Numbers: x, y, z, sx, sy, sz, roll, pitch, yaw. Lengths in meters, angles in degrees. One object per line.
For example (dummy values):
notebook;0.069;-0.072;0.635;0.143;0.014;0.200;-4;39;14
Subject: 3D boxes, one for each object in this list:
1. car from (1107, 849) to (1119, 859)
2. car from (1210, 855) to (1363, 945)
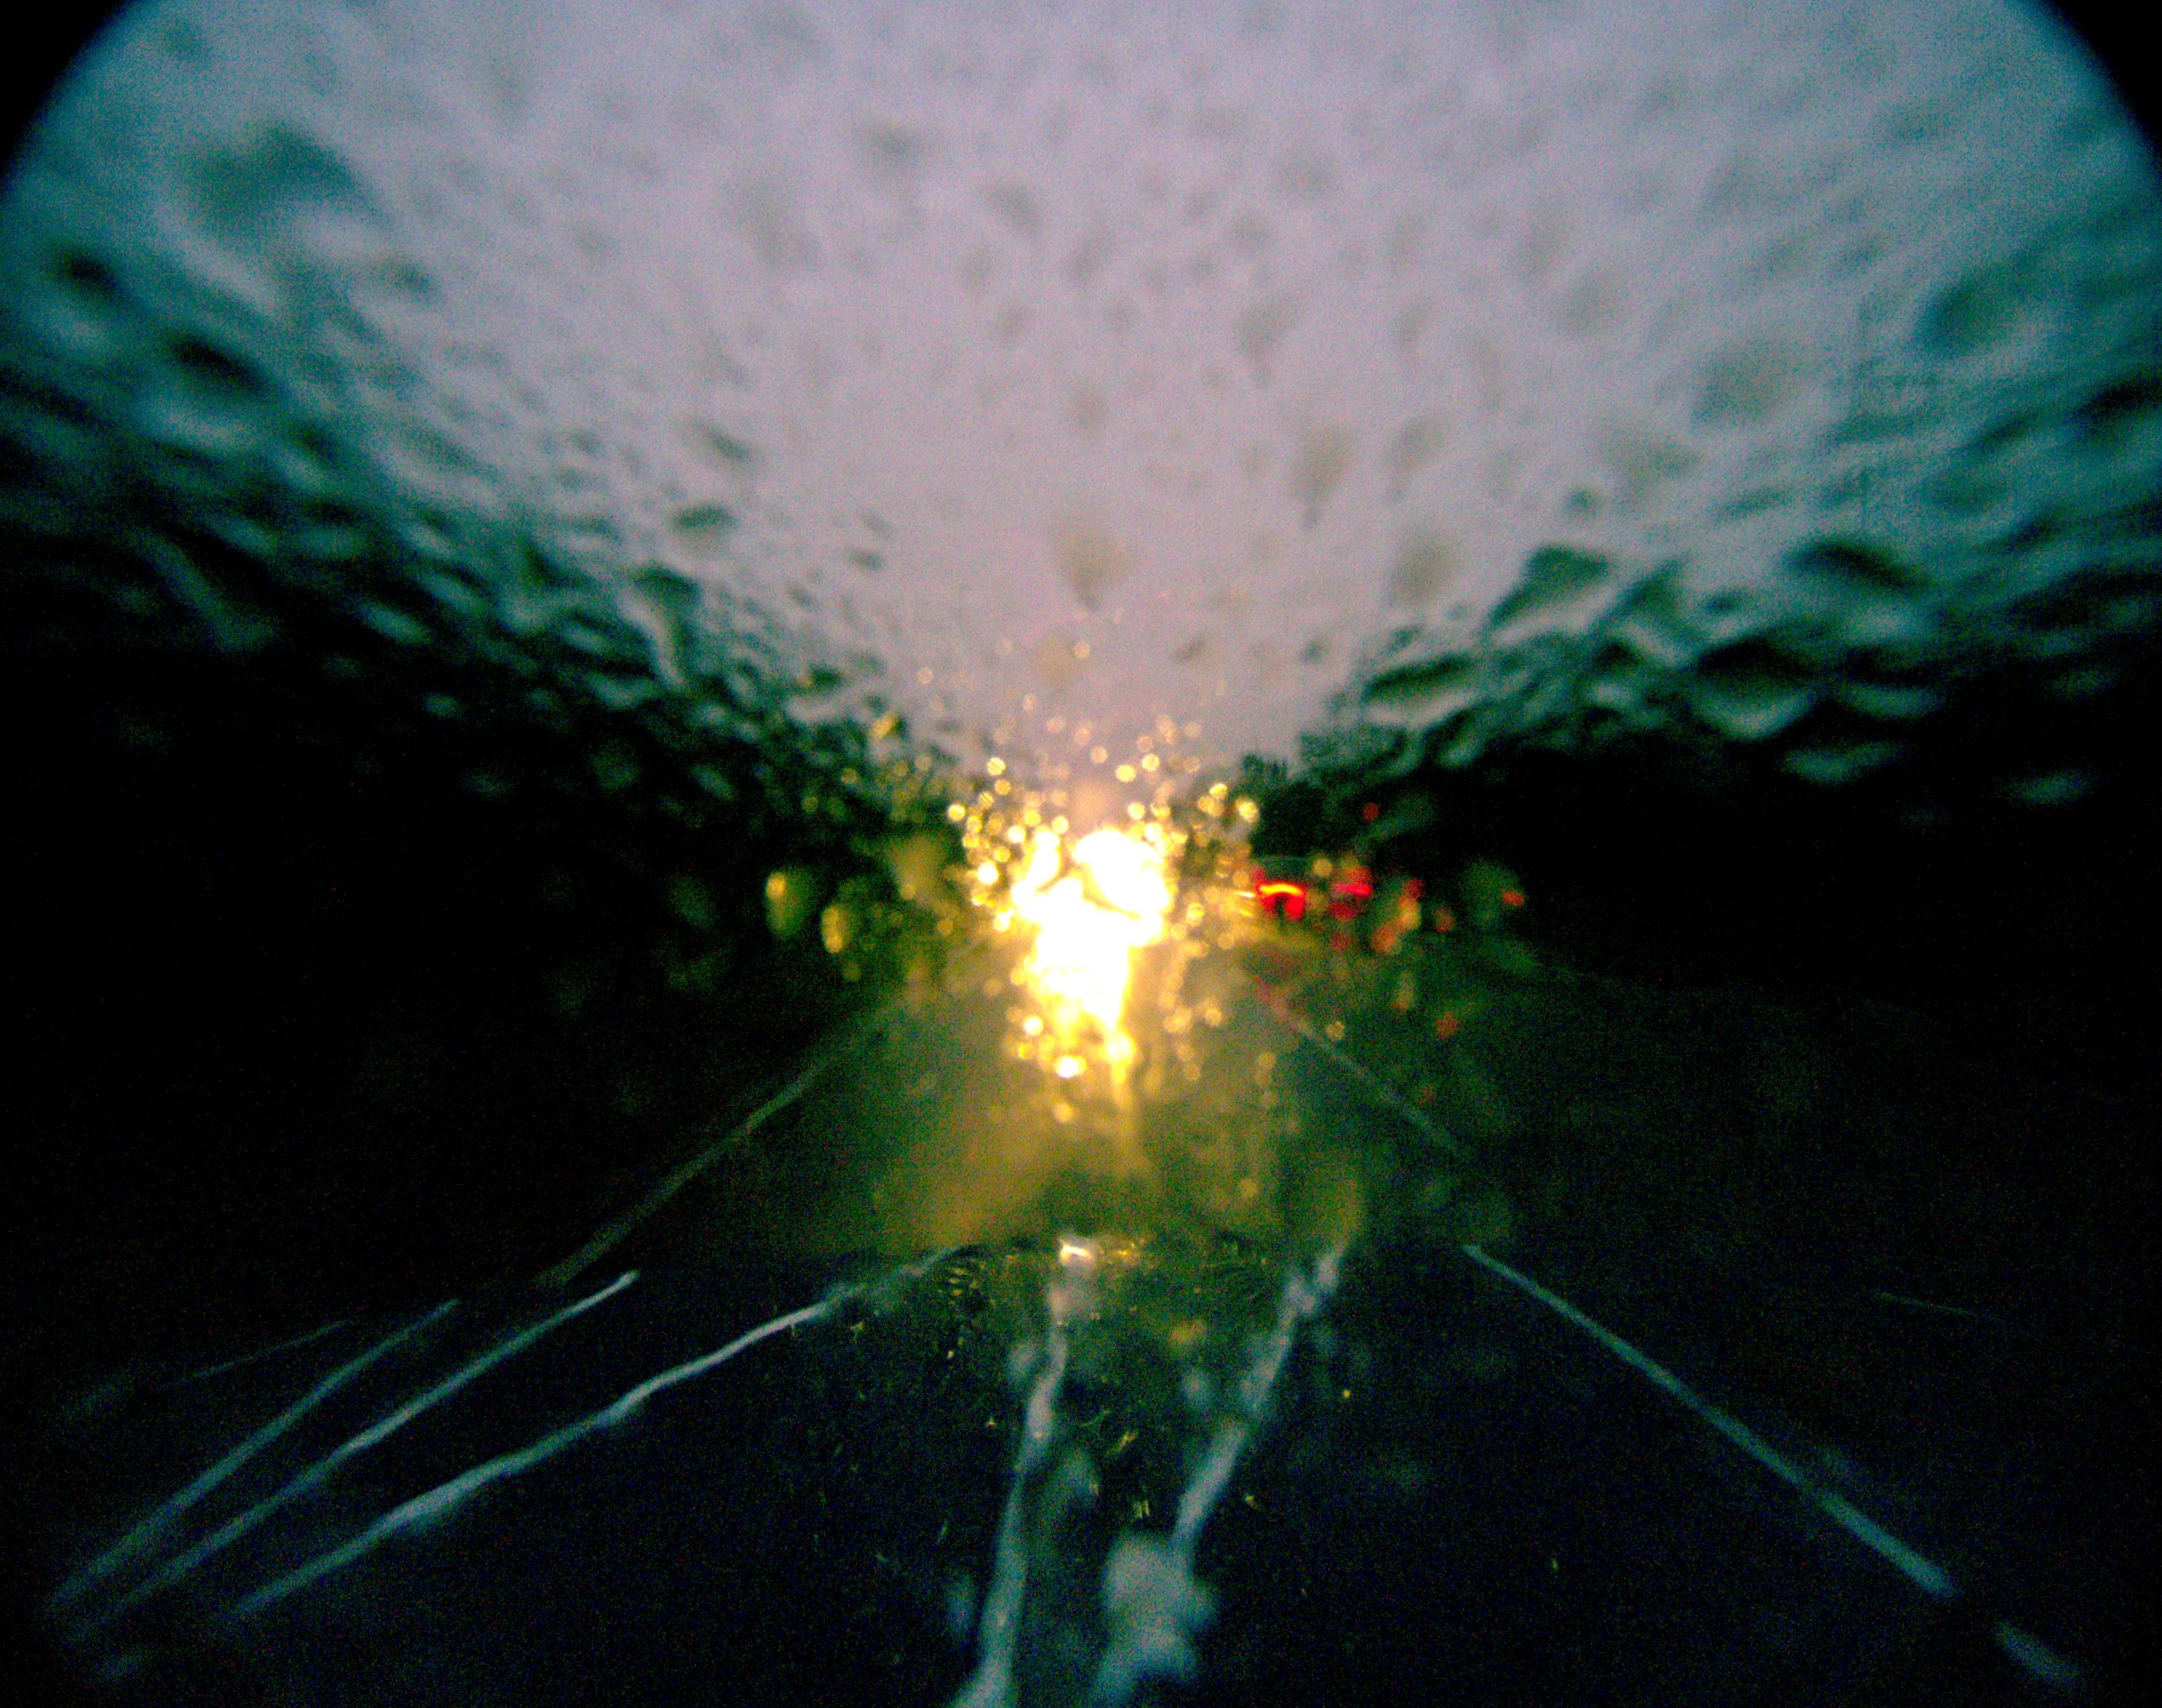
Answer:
car;5.049;0.009;120.400;1.738;1.525;4.959;-2;0;0
car;4.033;0.801;15.974;1.702;1.487;5.664;-2;0;1
